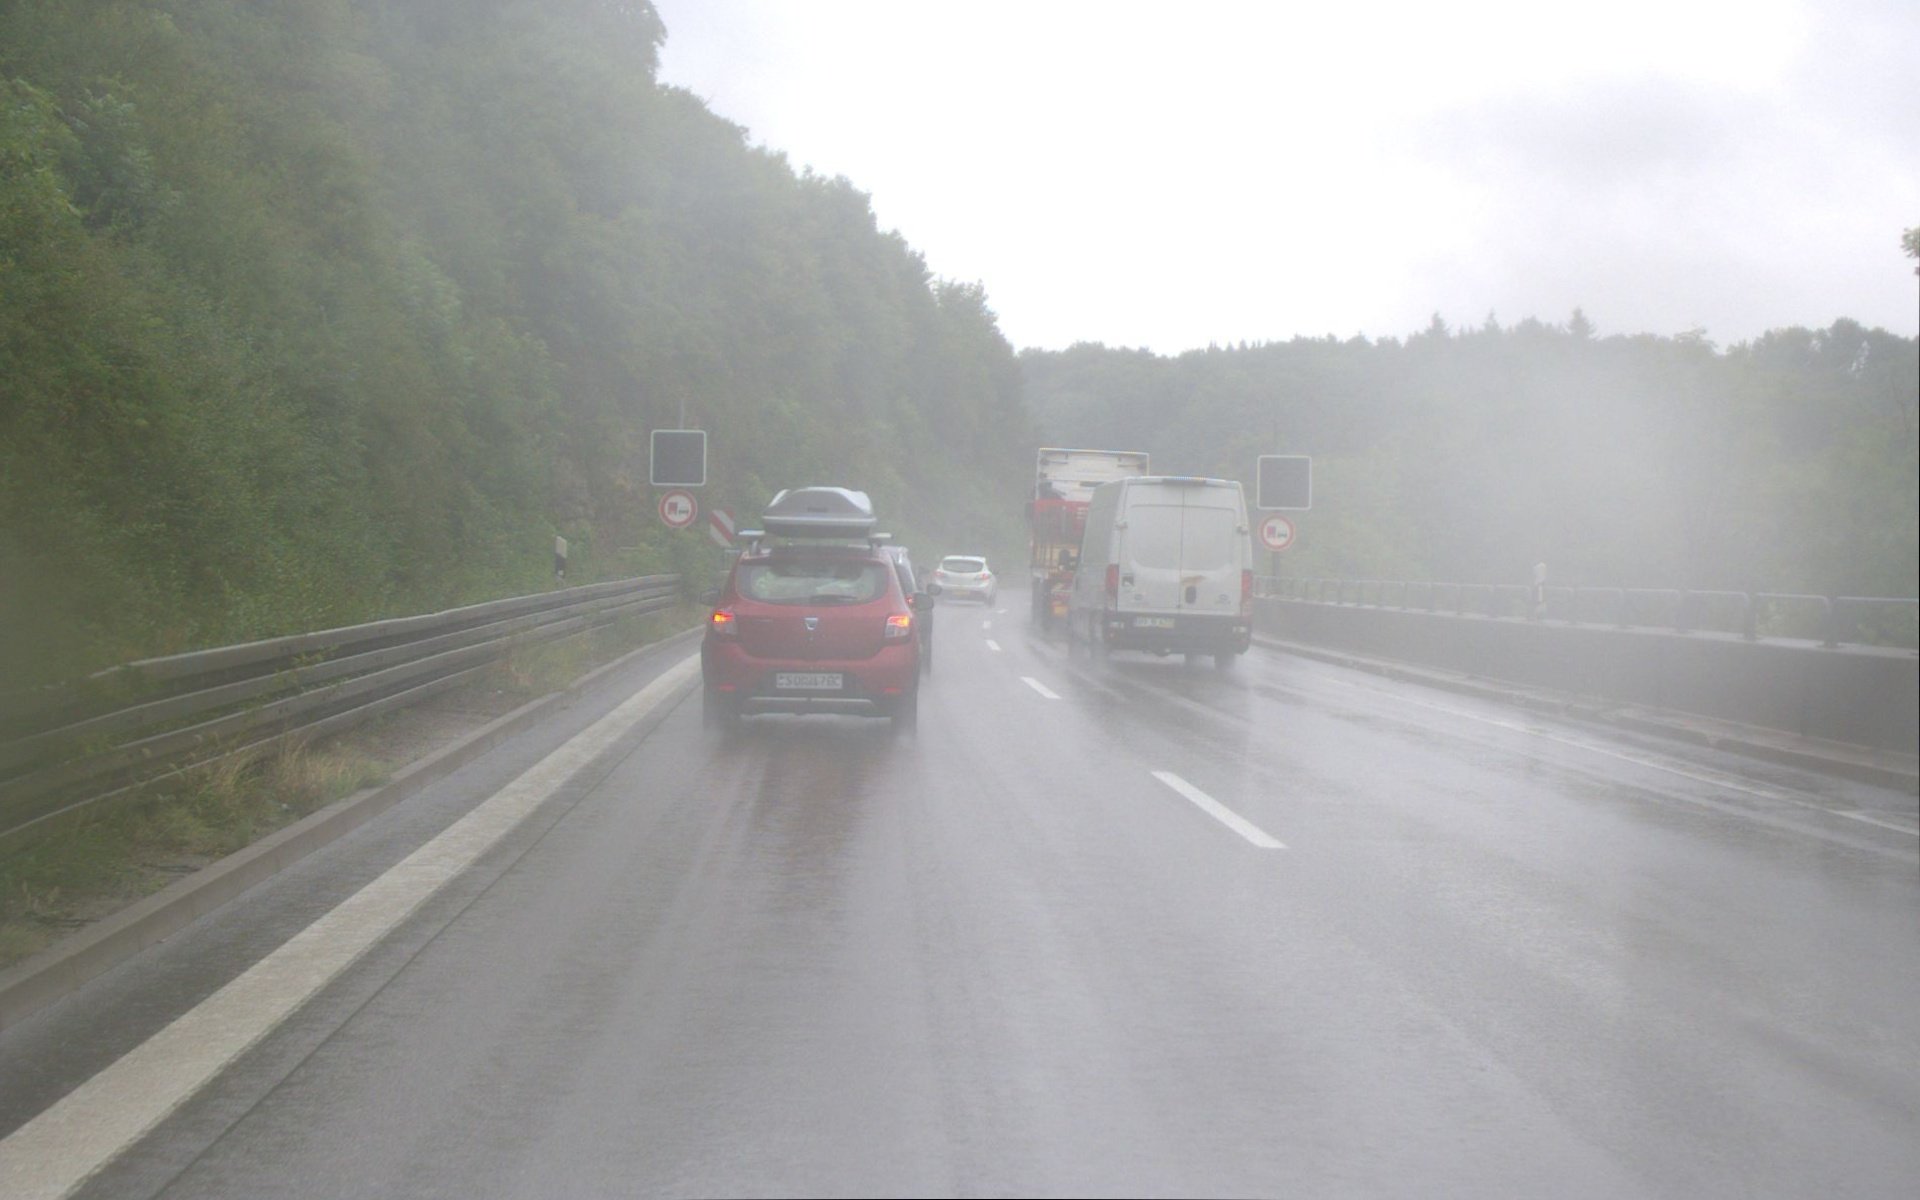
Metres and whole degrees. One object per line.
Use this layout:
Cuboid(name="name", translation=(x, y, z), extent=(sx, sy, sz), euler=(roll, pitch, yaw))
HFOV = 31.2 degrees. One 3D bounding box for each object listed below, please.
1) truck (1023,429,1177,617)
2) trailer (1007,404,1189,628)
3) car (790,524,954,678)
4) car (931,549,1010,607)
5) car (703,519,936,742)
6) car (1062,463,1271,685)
Cuboid(name="truck", translation=(3.133, -1.679, 76.430), extent=(3.220, 3.964, 5.438), euler=(1, 1, 3))
Cuboid(name="trailer", translation=(2.776, -1.599, 68.988), extent=(3.218, 3.985, 13.523), euler=(1, 1, 2))
Cuboid(name="car", translation=(-1.017, -0.001, 40.841), extent=(1.832, 1.709, 3.645), euler=(-1, 0, -1))
Cuboid(name="car", translation=(0.322, -0.639, 100.102), extent=(1.994, 1.634, 3.999), euler=(-1, 0, 4))
Cuboid(name="car", translation=(-1.121, 0.220, 28.351), extent=(1.758, 1.679, 4.000), euler=(-1, 0, -1))
Cuboid(name="car", translation=(2.782, -0.393, 48.242), extent=(2.206, 2.784, 7.383), euler=(2, 1, -1))
